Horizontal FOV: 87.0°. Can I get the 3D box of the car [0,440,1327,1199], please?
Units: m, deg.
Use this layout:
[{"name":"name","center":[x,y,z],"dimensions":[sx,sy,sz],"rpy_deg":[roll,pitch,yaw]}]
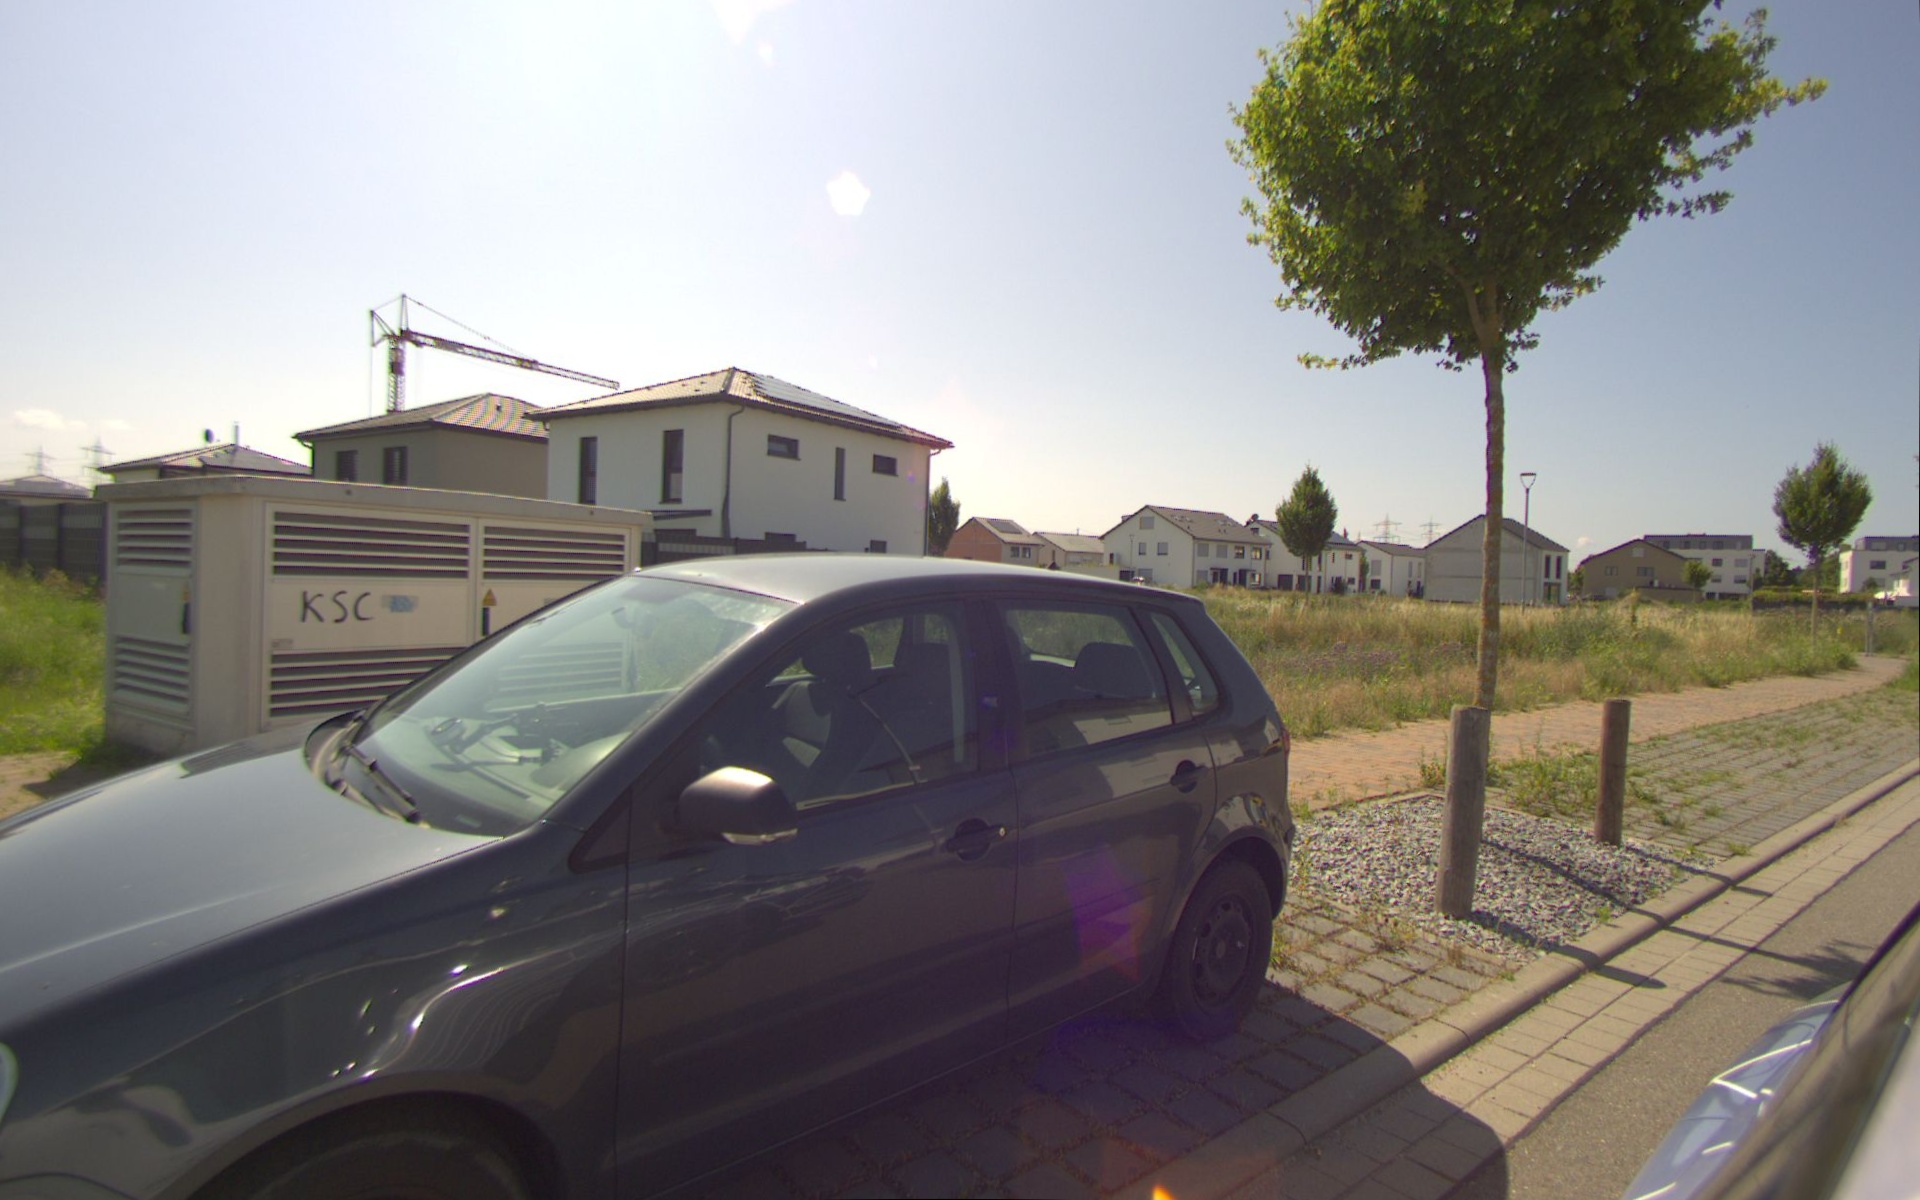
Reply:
[{"name":"car","center":[-0.656,0.542,2.790],"dimensions":[3.611,1.493,1.601],"rpy_deg":[0,1,-42]}]
